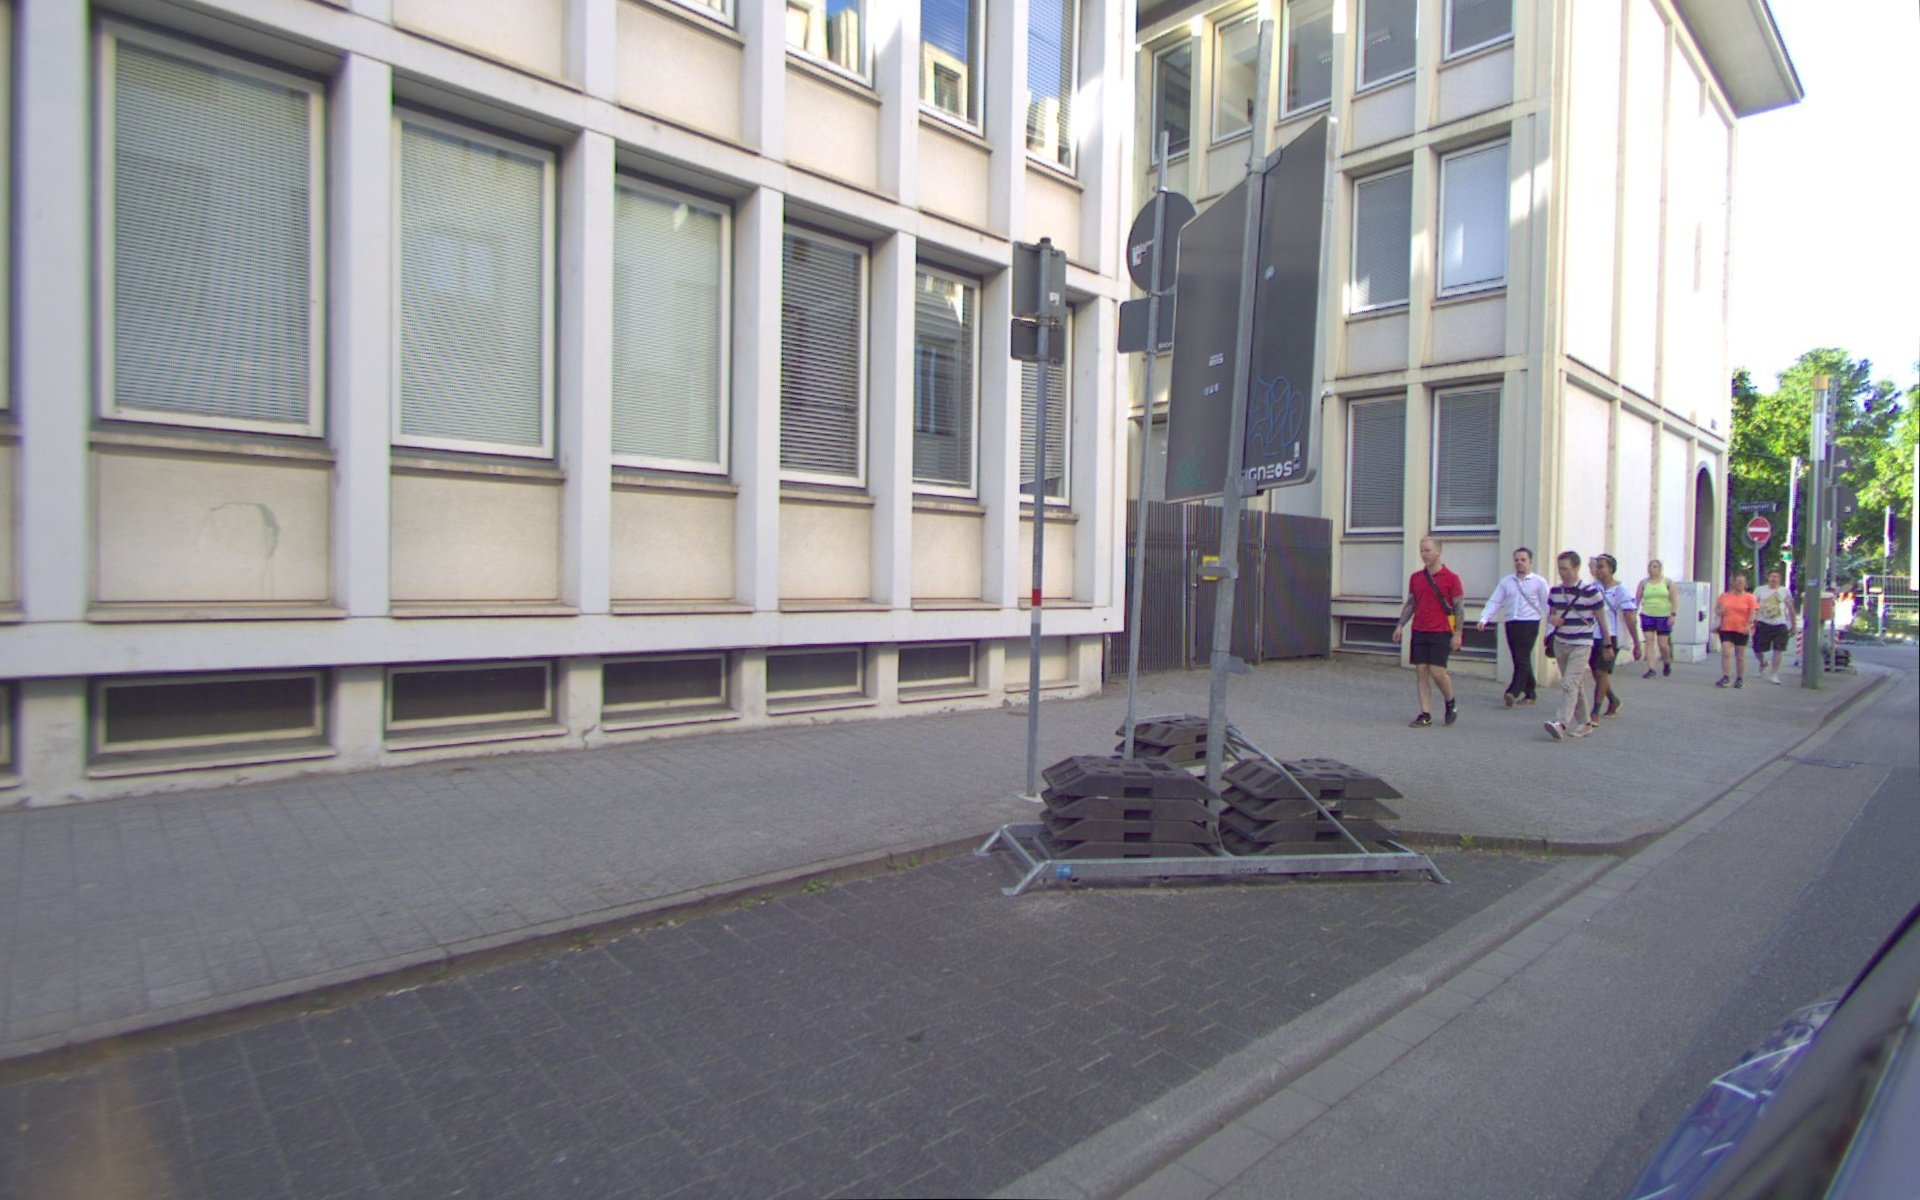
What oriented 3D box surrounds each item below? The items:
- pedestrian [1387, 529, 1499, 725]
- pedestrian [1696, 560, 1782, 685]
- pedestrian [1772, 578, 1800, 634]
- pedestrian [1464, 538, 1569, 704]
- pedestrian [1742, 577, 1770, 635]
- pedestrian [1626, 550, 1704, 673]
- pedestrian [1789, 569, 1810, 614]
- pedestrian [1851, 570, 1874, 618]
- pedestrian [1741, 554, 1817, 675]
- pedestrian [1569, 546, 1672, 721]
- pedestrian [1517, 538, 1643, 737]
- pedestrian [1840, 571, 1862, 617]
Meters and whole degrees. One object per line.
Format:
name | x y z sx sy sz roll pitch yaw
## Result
pedestrian | 4.714 0.237 9.884 0.583 1.799 0.685 0 5 -41
pedestrian | 10.972 0.293 14.253 0.681 1.655 0.685 0 6 -41
pedestrian | 24.675 0.170 30.234 0.624 1.634 0.614 1 1 42
pedestrian | 6.404 0.220 11.650 0.681 1.799 0.685 0 7 -41
pedestrian | 23.471 0.167 29.839 0.624 1.662 0.614 1 1 42
pedestrian | 10.360 0.151 14.875 0.681 1.736 0.685 0 4 -41
pedestrian | 33.917 -0.337 40.906 0.624 1.805 0.614 1 1 42
pedestrian | 34.600 -0.239 38.807 0.624 1.805 0.614 1 1 42
pedestrian | 12.299 0.200 15.198 0.681 1.736 0.684 0 4 -41
pedestrian | 7.158 0.336 10.967 0.681 1.800 0.684 0 3 -41
pedestrian | 6.014 0.339 9.826 0.681 1.799 0.685 0 7 -41
pedestrian | 34.905 -0.238 39.640 0.624 1.805 0.614 1 1 42
